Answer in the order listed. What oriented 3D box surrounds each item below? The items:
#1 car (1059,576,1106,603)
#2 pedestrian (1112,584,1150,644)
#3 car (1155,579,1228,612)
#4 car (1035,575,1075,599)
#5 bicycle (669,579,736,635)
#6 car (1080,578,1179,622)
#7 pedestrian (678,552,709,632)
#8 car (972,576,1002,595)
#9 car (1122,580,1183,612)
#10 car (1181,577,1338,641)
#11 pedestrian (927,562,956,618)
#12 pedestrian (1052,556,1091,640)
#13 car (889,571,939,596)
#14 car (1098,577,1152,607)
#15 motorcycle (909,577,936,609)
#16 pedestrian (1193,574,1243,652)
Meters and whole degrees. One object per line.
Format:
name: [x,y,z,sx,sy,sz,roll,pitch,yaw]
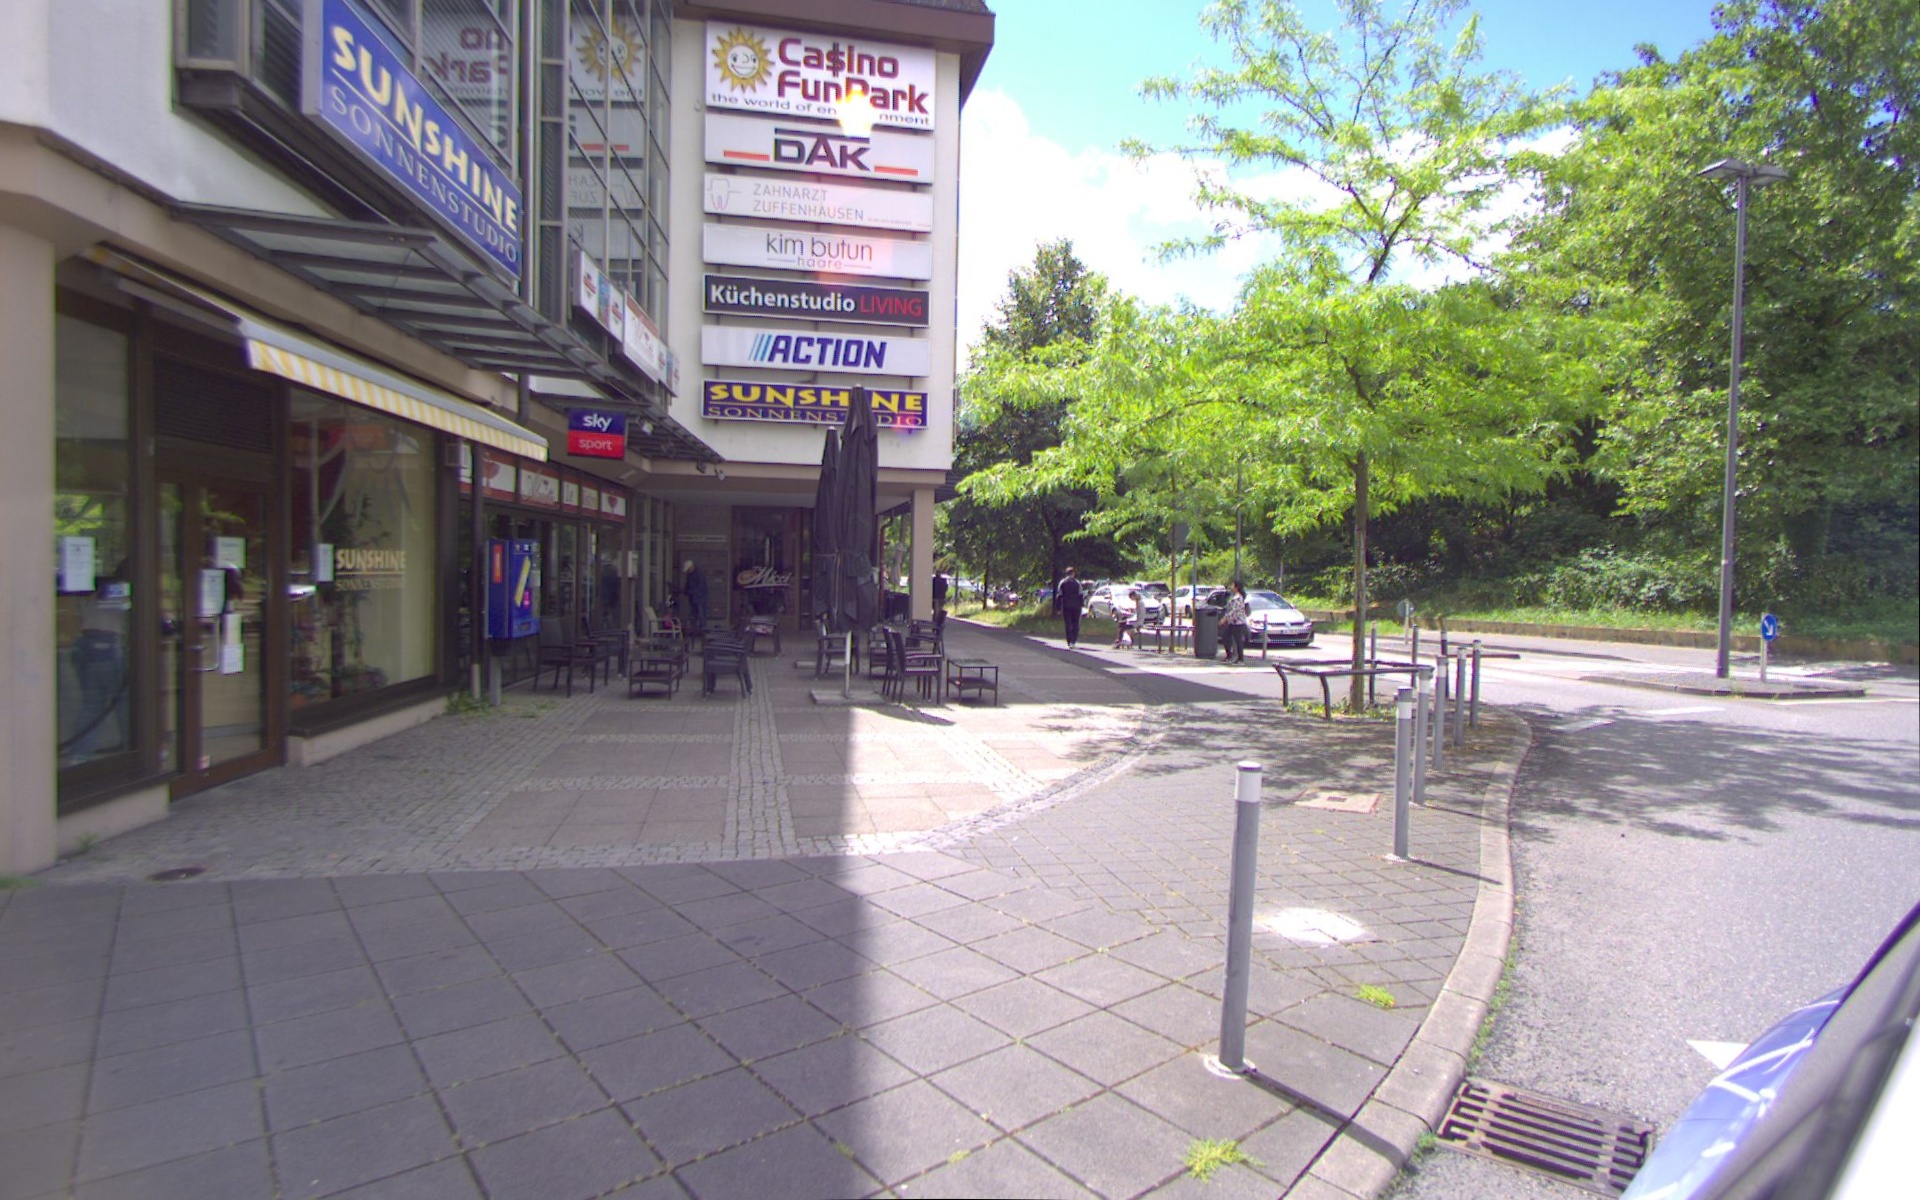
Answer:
car: [7.350,-0.658,60.920,1.895,1.504,4.005,2,1,-6]
pedestrian: [3.840,0.308,22.760,0.684,1.301,0.617,2,0,-1]
car: [10.369,-0.254,45.609,1.721,1.346,4.008,-2,2,-11]
car: [6.331,-0.856,67.712,1.895,1.504,4.005,2,1,-6]
bicycle: [-5.614,0.151,22.132,0.492,1.183,1.526,0,0,30]
car: [6.105,-0.043,37.066,1.958,1.527,4.594,0,1,-13]
pedestrian: [-5.783,-0.181,21.973,0.604,1.695,0.699,2,0,-13]
car: [2.202,-1.199,82.612,1.895,1.504,4.005,2,1,-6]
car: [9.651,-0.229,50.946,1.895,1.504,4.005,2,1,-6]
car: [7.734,0.164,26.633,1.958,1.527,4.594,-1,1,-13]
pedestrian: [-0.574,-0.309,30.816,0.604,1.695,0.699,2,0,-26]
pedestrian: [2.501,-0.059,22.766,0.683,1.841,0.618,2,1,-8]
car: [-3.066,-1.095,66.556,1.958,1.527,4.595,1,1,-20]
car: [9.135,-0.483,56.272,1.895,1.504,4.006,2,1,-6]
motorcycle: [-1.622,-0.334,43.634,0.840,1.307,2.191,1,2,-10]
pedestrian: [5.423,0.263,21.281,0.774,1.573,0.756,2,0,34]
